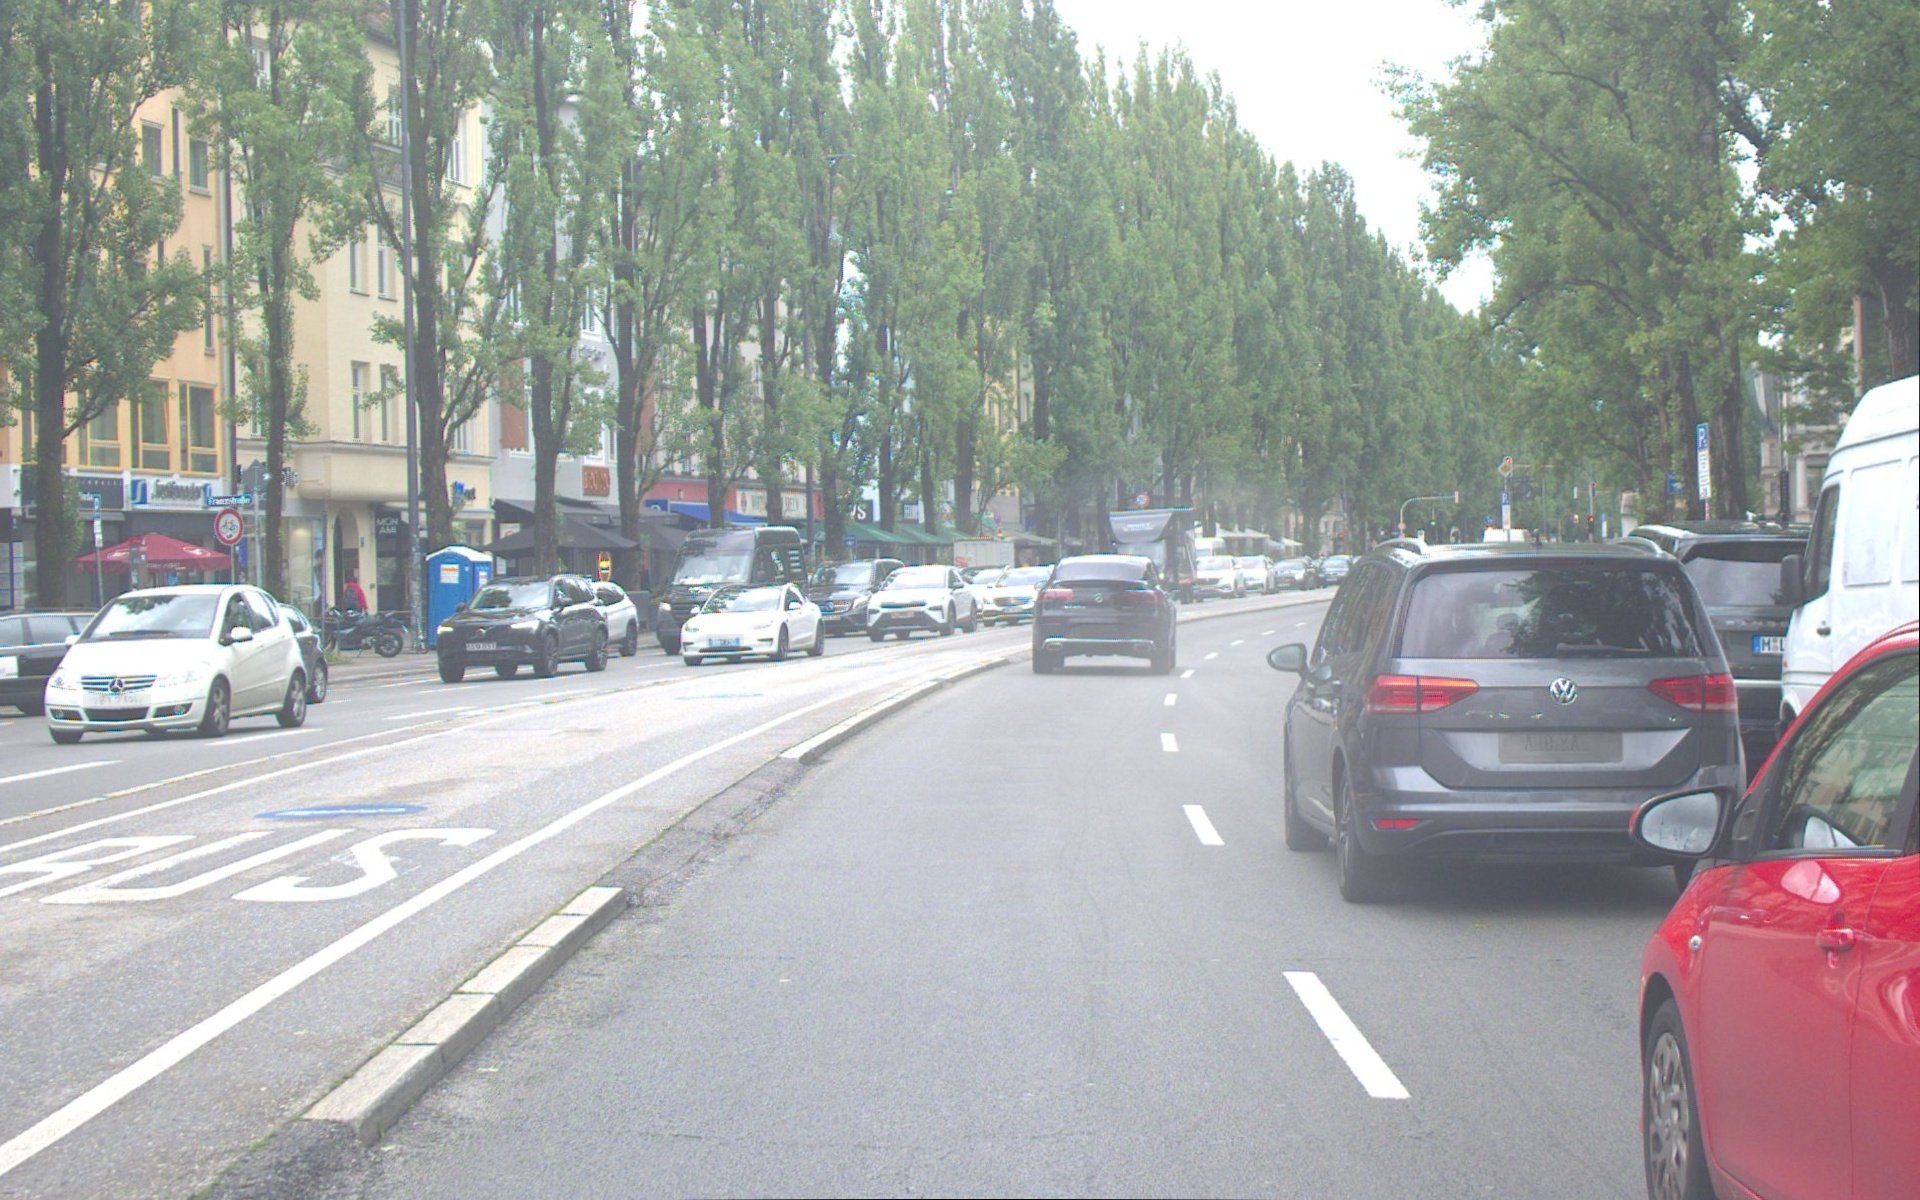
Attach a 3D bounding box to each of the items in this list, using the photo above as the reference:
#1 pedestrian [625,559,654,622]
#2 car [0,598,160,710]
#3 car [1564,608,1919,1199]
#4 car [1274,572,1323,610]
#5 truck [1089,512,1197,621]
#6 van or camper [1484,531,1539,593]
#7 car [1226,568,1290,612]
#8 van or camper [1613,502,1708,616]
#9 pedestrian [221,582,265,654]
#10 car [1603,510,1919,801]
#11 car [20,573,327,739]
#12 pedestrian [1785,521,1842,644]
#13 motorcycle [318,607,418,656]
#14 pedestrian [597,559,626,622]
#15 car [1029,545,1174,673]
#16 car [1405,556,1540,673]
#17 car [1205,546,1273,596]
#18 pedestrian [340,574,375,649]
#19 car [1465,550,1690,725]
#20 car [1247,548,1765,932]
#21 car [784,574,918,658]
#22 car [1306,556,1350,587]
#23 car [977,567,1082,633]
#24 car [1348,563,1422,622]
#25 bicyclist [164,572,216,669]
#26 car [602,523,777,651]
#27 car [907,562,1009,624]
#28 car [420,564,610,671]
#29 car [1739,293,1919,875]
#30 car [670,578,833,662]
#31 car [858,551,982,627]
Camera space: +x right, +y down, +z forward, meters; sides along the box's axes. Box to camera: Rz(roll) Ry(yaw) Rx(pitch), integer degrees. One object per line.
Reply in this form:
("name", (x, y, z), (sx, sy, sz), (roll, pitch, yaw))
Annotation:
("pedestrian", (-9.627, -0.288, 103.289), (0.638, 1.855, 0.647), (-2, 0, 12))
("car", (-13.443, 0.773, 46.932), (4.495, 1.434, 1.927), (-2, 1, -41))
("car", (2.299, 0.746, 6.491), (1.665, 1.441, 3.596), (0, 0, 0))
("car", (14.505, -0.394, 147.340), (1.668, 1.590, 3.998), (0, 0, 12))
("truck", (5.940, -1.092, 110.420), (2.292, 3.311, 7.154), (-2, 0, 12))
("van or camper", (23.092, -1.561, 143.799), (2.035, 2.467, 3.998), (-1, -1, 12))
("car", (11.717, -0.407, 134.923), (1.940, 1.636, 4.461), (-2, 1, 11))
("van or camper", (20.050, -1.173, 98.322), (2.461, 3.101, 4.713), (-2, 1, 13))
("pedestrian", (-15.902, 0.396, 76.284), (0.634, 1.556, 0.815), (-1, 1, 13))
("car", (5.702, 0.315, 23.691), (1.929, 1.799, 4.779), (0, 1, 4))
("car", (-8.232, 0.548, 36.350), (1.954, 1.584, 3.999), (-1, 1, 6))
("pedestrian", (11.465, -0.238, 46.194), (0.610, 1.613, 0.794), (-2, 1, 9))
("motorcycle", (-12.458, 0.664, 72.343), (2.055, 1.033, 0.486), (0, 0, -8))
("pedestrian", (-10.478, -0.288, 103.306), (0.638, 1.855, 0.647), (-2, 0, 12))
("car", (1.958, 0.092, 47.663), (1.881, 1.636, 4.583), (-1, 1, 2))
("car", (7.737, 0.204, 52.094), (1.925, 1.694, 4.648), (0, 0, 8))
("car", (10.162, -1.072, 124.871), (1.861, 1.705, 4.534), (-2, 1, 12))
("pedestrian", (-14.263, 0.268, 81.418), (0.539, 1.741, 0.755), (-1, 1, 12))
("car", (6.269, 0.337, 35.311), (1.727, 1.680, 4.408), (0, 1, 3))
("car", (2.479, 0.564, 16.592), (1.761, 1.608, 4.184), (0, 1, -1))
("car", (-2.645, 0.367, 85.220), (1.994, 1.857, 5.709), (-3, 0, 11))
("car", (17.451, -1.353, 163.020), (1.712, 1.409, 3.721), (-1, 1, 11))
("car", (1.891, -0.024, 91.918), (1.994, 1.583, 5.193), (-3, 0, 9))
("car", (11.998, -0.218, 96.958), (1.760, 1.614, 3.745), (0, 0, 12))
("bicyclist", (-12.766, 0.338, 57.034), (0.502, 1.587, 0.834), (-1, 1, 12))
("car", (-5.771, -0.305, 74.175), (2.171, 2.596, 6.061), (-2, 1, 11))
("car", (-0.028, -0.229, 99.489), (1.994, 1.645, 4.634), (-2, 0, 12))
("car", (-7.667, 0.265, 59.779), (2.019, 1.710, 4.981), (-1, 1, 8))
("car", (5.516, -0.075, 17.313), (1.993, 2.732, 5.554), (0, 0, 1))
("car", (-3.801, 0.340, 63.484), (1.800, 1.389, 4.688), (-2, 1, 12))
("car", (-0.858, -0.261, 77.145), (1.910, 1.597, 4.353), (-2, 1, 11))
